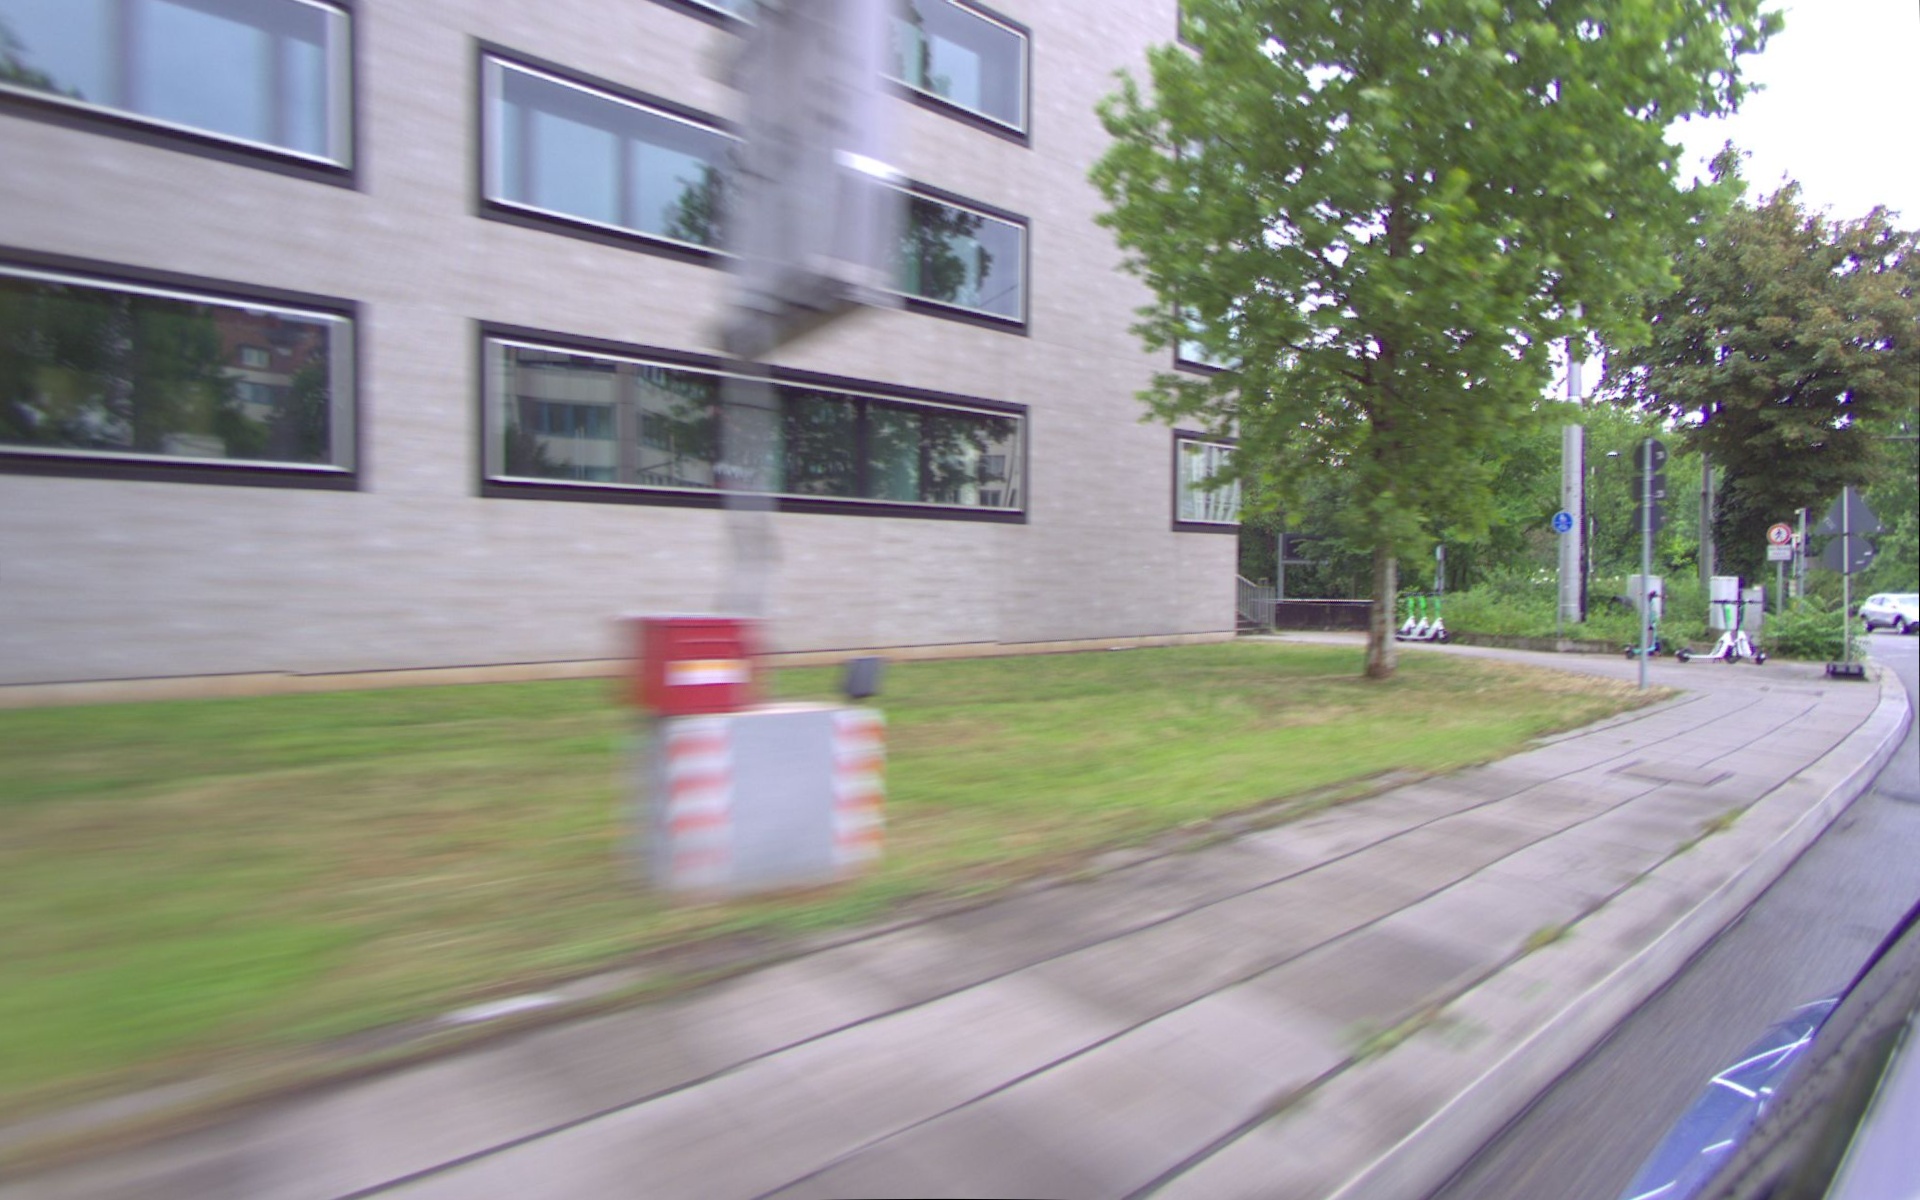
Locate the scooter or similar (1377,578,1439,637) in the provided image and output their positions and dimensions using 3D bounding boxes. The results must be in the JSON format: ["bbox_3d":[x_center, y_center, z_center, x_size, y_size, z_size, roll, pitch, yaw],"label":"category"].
[{"bbox_3d":[10.581,0.171,23.938,0.464,1.328,1.239,0,2,-43],"label":"scooter or similar"}]

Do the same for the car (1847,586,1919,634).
[{"bbox_3d":[37.911,0.371,40.271,1.971,1.766,4.636,1,2,14],"label":"car"}]

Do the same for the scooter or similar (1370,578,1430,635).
[{"bbox_3d":[10.690,0.149,24.603,0.464,1.328,1.239,0,2,-43],"label":"scooter or similar"}]

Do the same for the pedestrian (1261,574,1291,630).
[{"bbox_3d":[7.928,0.037,25.377,0.529,1.389,0.479,0,2,-41],"label":"pedestrian"}]

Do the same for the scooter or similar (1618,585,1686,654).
[{"bbox_3d":[12.754,0.339,18.655,1.299,1.215,0.564,0,2,-34],"label":"scooter or similar"}]

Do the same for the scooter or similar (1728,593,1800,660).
[{"bbox_3d":[14.848,0.465,18.733,0.630,1.142,1.581,2,2,24],"label":"scooter or similar"}]

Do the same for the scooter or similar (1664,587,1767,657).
[{"bbox_3d":[13.673,0.384,18.337,1.313,1.215,0.690,1,2,-2],"label":"scooter or similar"}]

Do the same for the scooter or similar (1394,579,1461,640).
[{"bbox_3d":[10.644,0.193,23.074,0.545,1.328,1.239,0,2,-43],"label":"scooter or similar"}]
